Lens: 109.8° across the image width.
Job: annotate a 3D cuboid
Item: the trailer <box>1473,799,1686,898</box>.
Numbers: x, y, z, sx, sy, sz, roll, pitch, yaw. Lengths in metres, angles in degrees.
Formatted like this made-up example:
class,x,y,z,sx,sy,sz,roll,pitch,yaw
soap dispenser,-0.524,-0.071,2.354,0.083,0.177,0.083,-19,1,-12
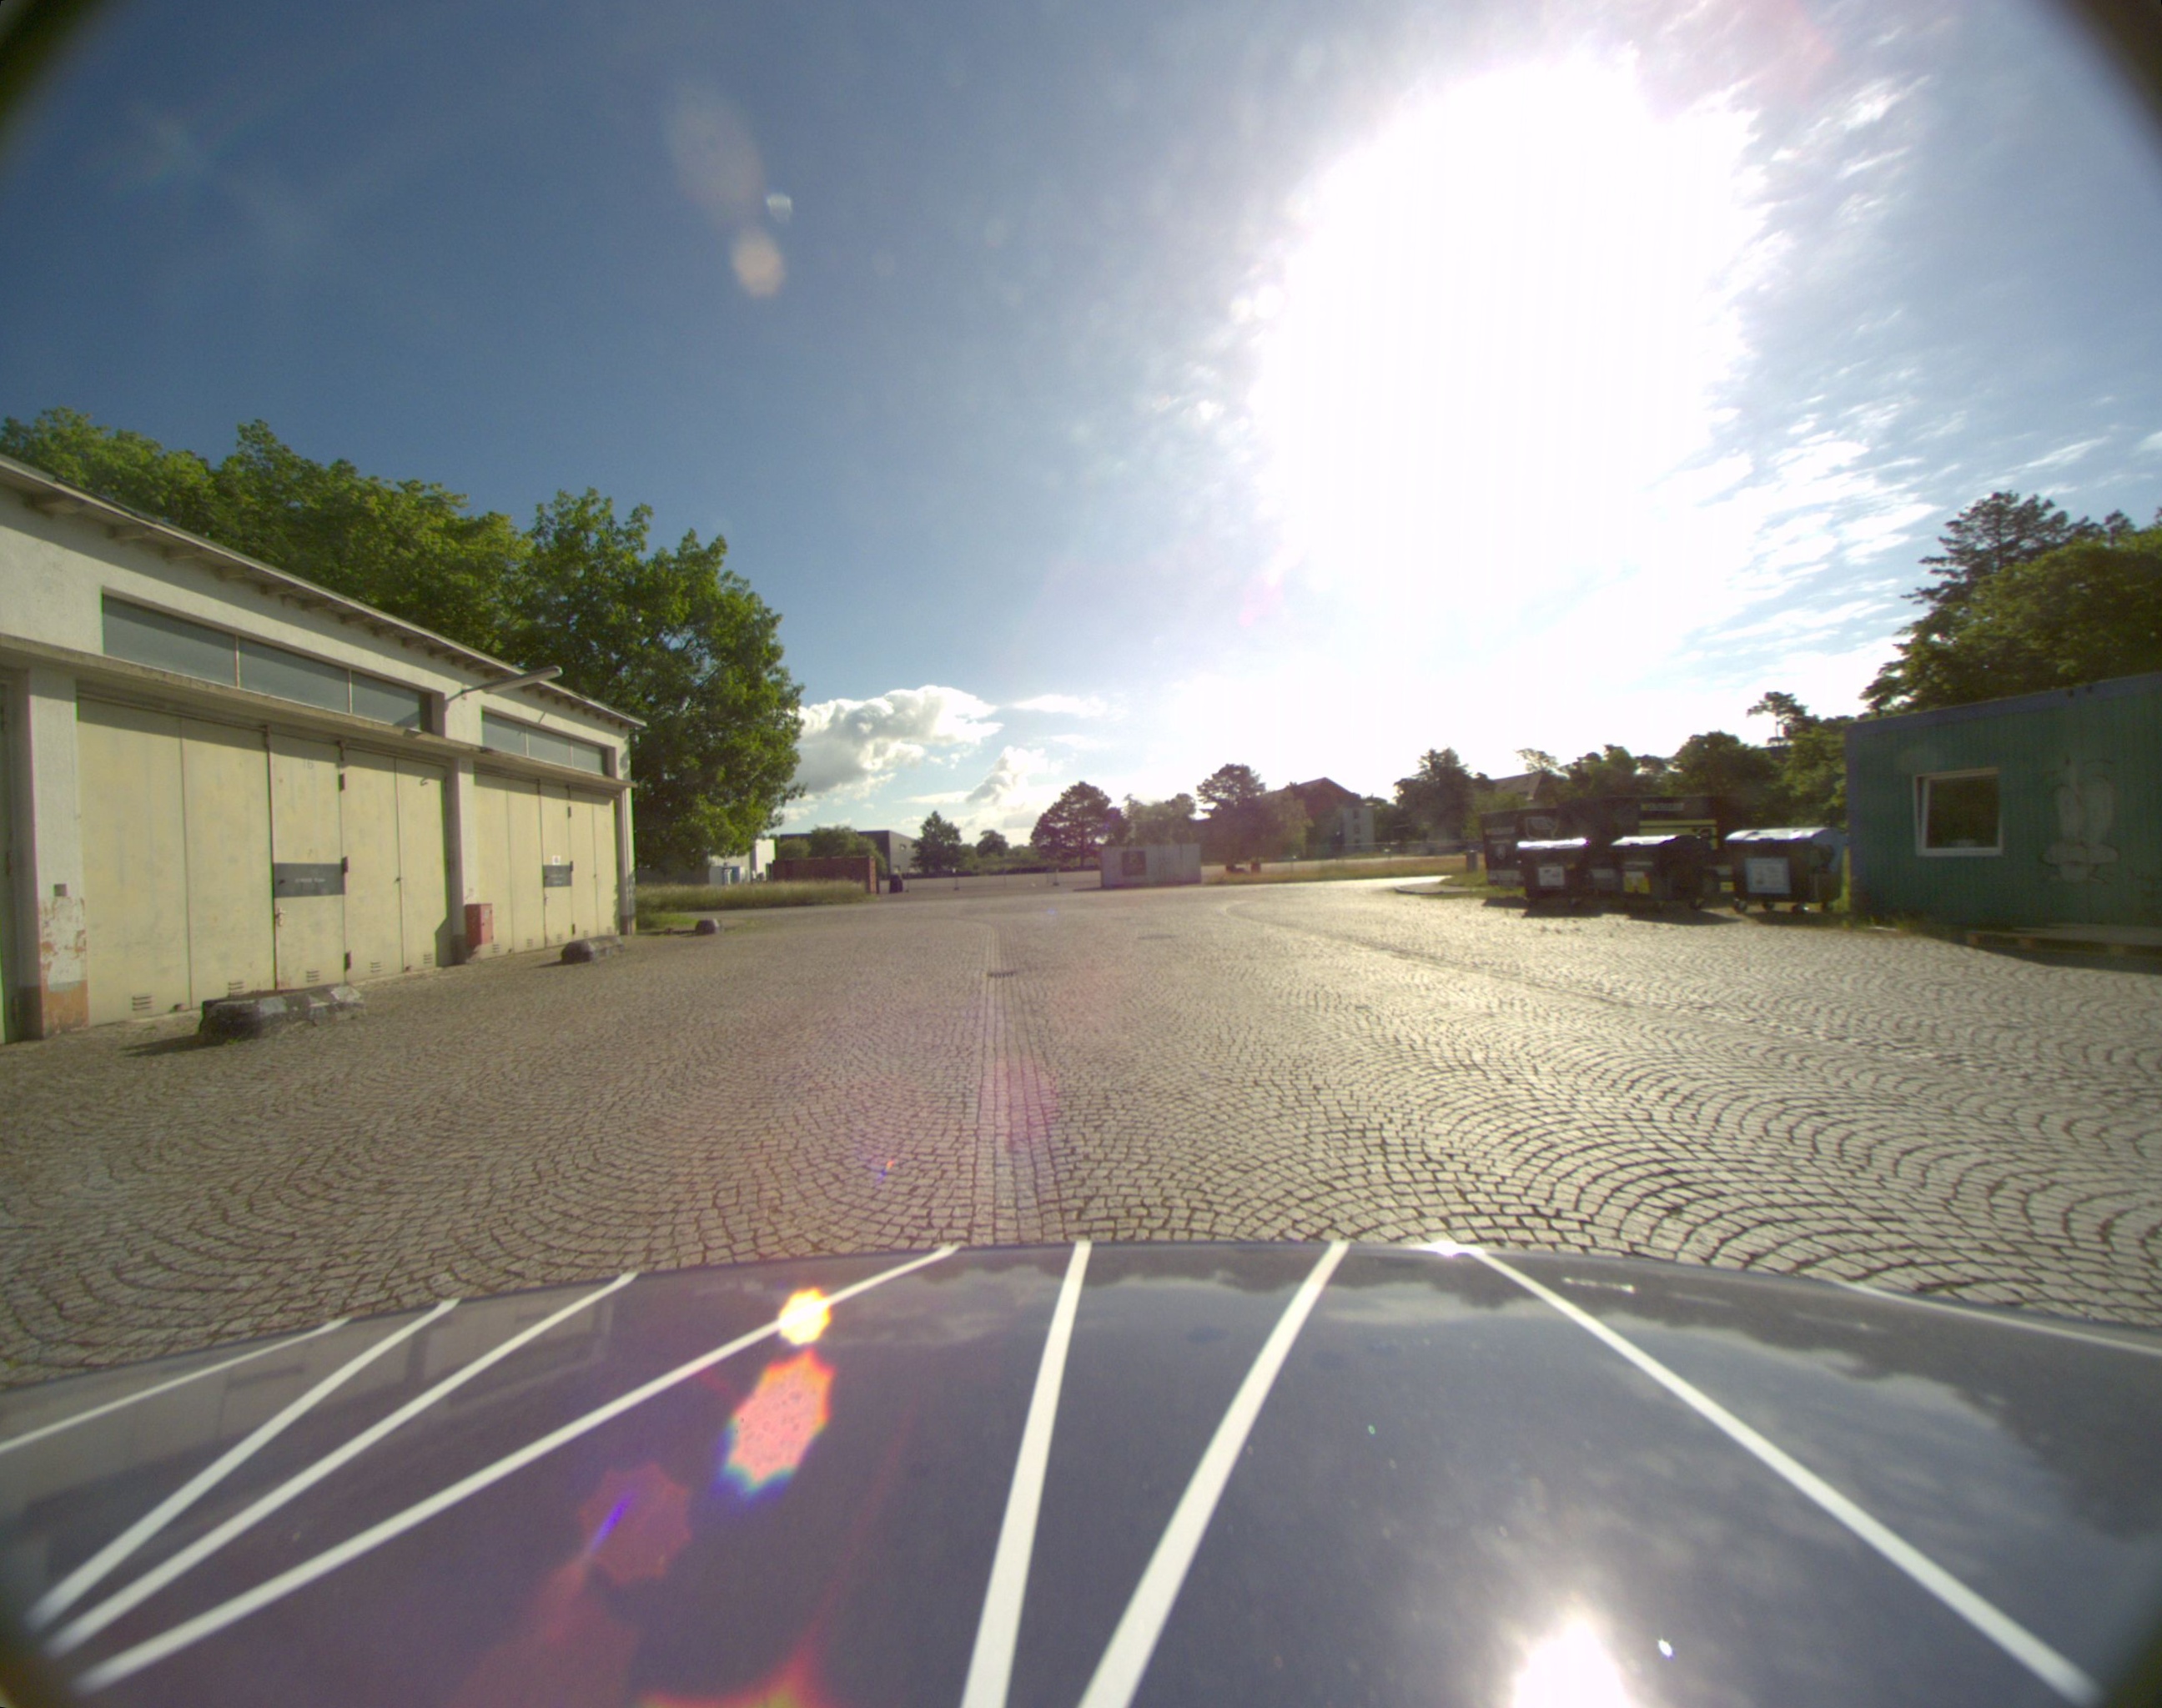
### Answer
class,x,y,z,sx,sy,sz,roll,pitch,yaw
trailer,13.344,-0.138,20.492,4.467,2.259,2.013,-4,0,-7

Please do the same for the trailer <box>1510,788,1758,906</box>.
class,x,y,z,sx,sy,sz,roll,pitch,yaw
trailer,13.080,-0.185,18.071,4.856,2.377,1.941,-4,0,-12

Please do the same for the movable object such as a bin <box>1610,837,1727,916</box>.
class,x,y,z,sx,sy,sz,roll,pitch,yaw
movable object such as a bin,11.121,0.406,14.442,1.083,1.377,1.368,-3,0,-3

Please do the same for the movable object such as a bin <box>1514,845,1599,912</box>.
class,x,y,z,sx,sy,sz,roll,pitch,yaw
movable object such as a bin,10.342,0.530,16.525,1.361,1.377,1.050,-3,0,41

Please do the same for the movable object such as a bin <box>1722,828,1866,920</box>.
class,x,y,z,sx,sy,sz,roll,pitch,yaw
movable object such as a bin,12.117,0.330,12.963,1.089,1.428,1.407,-3,0,-18
